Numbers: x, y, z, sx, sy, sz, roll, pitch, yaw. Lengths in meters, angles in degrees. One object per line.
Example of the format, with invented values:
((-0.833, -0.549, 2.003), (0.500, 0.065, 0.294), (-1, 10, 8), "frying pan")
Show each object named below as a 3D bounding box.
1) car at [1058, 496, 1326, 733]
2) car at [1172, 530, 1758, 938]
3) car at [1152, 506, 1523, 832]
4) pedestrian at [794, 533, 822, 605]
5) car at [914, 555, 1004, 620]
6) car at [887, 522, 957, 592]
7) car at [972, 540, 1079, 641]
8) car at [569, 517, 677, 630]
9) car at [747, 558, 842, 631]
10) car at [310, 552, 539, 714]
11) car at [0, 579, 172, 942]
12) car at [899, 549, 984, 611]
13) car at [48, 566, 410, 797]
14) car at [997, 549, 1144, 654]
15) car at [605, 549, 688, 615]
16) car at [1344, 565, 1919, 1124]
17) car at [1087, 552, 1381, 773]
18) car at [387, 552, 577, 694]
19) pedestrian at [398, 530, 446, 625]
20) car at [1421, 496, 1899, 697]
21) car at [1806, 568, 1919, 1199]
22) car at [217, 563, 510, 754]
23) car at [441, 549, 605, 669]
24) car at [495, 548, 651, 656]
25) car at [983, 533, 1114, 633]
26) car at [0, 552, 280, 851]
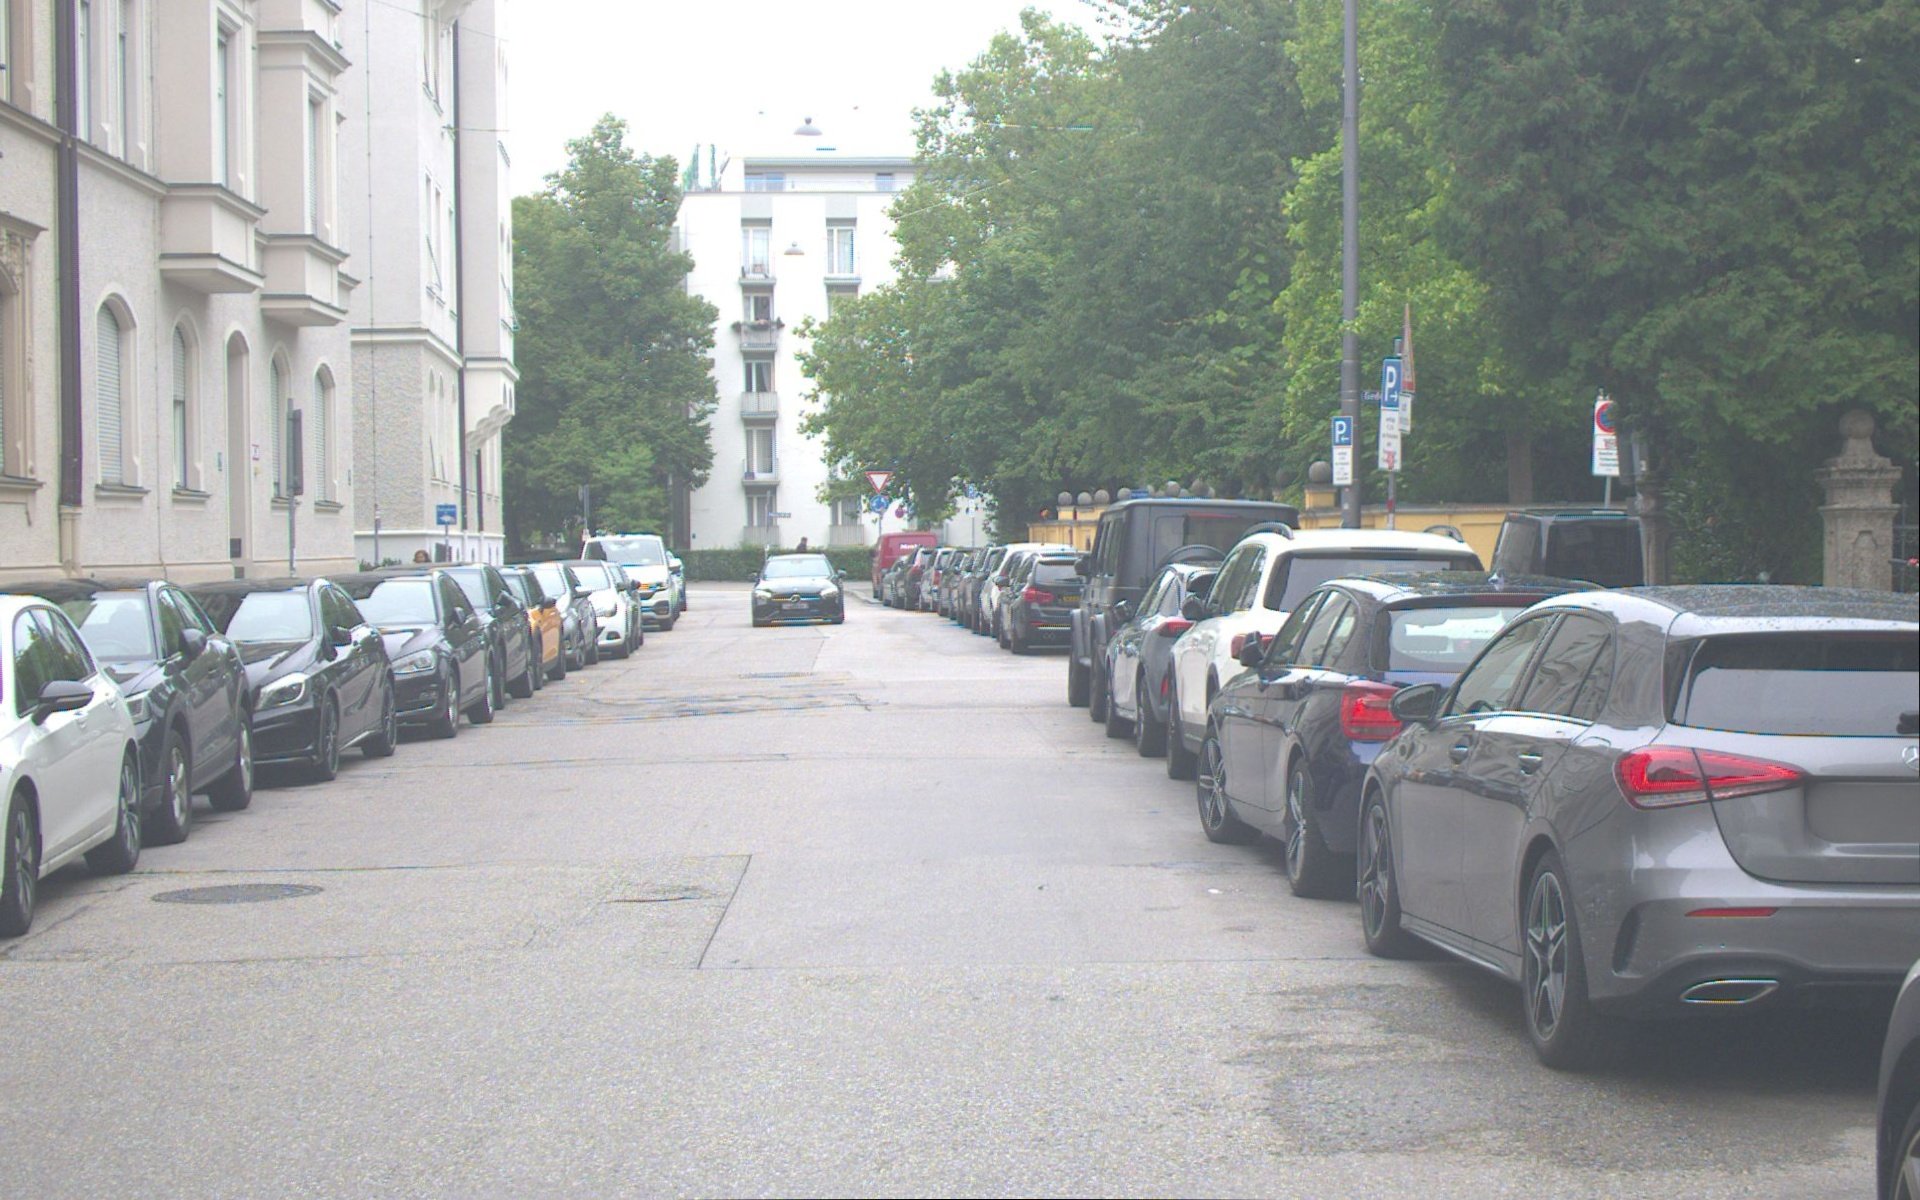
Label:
((2.018, 0.056, 31.273), (1.950, 1.947, 4.666), (1, 2, -2), "car")
((2.200, 0.508, 16.222), (1.750, 1.605, 4.425), (1, 1, -5), "car")
((2.241, 0.374, 21.508), (1.723, 1.763, 4.413), (2, 0, -1), "car")
((-4.855, -0.989, 109.609), (0.842, 2.277, 0.843), (0, 1, -1), "pedestrian")
((-0.047, -0.311, 83.821), (1.838, 1.513, 3.948), (1, 0, -5), "car")
((-1.085, -1.263, 99.822), (1.836, 1.920, 4.005), (2, 1, 1), "car")
((1.105, -0.173, 59.151), (1.513, 1.656, 3.674), (1, 0, -4), "car")
((-6.825, -0.564, 69.962), (1.886, 2.120, 4.707), (-3, 1, -3), "car")
((-3.423, -0.143, 70.555), (1.874, 1.423, 4.409), (-1, 1, -4), "car")
((-5.514, 0.293, 35.846), (1.753, 1.494, 4.019), (-2, 1, -1), "car")
((-4.955, 0.682, 15.777), (1.836, 1.429, 4.245), (-2, 1, -3), "car")
((-0.504, -0.507, 87.834), (1.838, 1.513, 3.948), (1, 0, -5), "car")
((-5.277, 0.526, 25.378), (1.833, 1.429, 4.554), (-2, 1, -2), "car")
((1.534, 0.008, 49.183), (1.838, 1.408, 4.343), (1, 0, -1), "car")
((-8.505, -0.507, 93.596), (2.015, 1.628, 4.414), (-3, 1, -3), "car")
((2.465, 0.650, 11.381), (1.683, 1.499, 4.018), (1, 1, -4), "car")
((2.018, 0.431, 26.262), (1.722, 1.513, 3.631), (2, 0, -3), "car")
((-5.646, 0.230, 41.011), (1.640, 1.494, 3.972), (-3, 1, 0), "car")
((-9.665, -0.406, 61.755), (0.792, 1.673, 0.700), (-1, 1, -7), "pedestrian")
((7.283, -0.073, 35.986), (4.528, 1.943, 1.904), (-1, 3, -7), "car")
((2.455, 0.731, 4.150), (1.784, 1.499, 4.065), (1, 1, -1), "car")
((-5.205, 0.458, 30.518), (1.836, 1.431, 4.245), (-3, 1, -1), "car")
((-5.875, 0.099, 46.582), (1.726, 1.494, 3.930), (-2, 0, -1), "car")
((-5.742, -0.003, 51.478), (1.836, 1.433, 4.275), (-3, 1, -1), "car")
((1.365, -0.273, 54.425), (1.652, 1.513, 3.796), (1, 0, -5), "car")
((-5.290, 0.535, 20.441), (1.770, 1.513, 4.386), (-3, 1, -3), "car")
